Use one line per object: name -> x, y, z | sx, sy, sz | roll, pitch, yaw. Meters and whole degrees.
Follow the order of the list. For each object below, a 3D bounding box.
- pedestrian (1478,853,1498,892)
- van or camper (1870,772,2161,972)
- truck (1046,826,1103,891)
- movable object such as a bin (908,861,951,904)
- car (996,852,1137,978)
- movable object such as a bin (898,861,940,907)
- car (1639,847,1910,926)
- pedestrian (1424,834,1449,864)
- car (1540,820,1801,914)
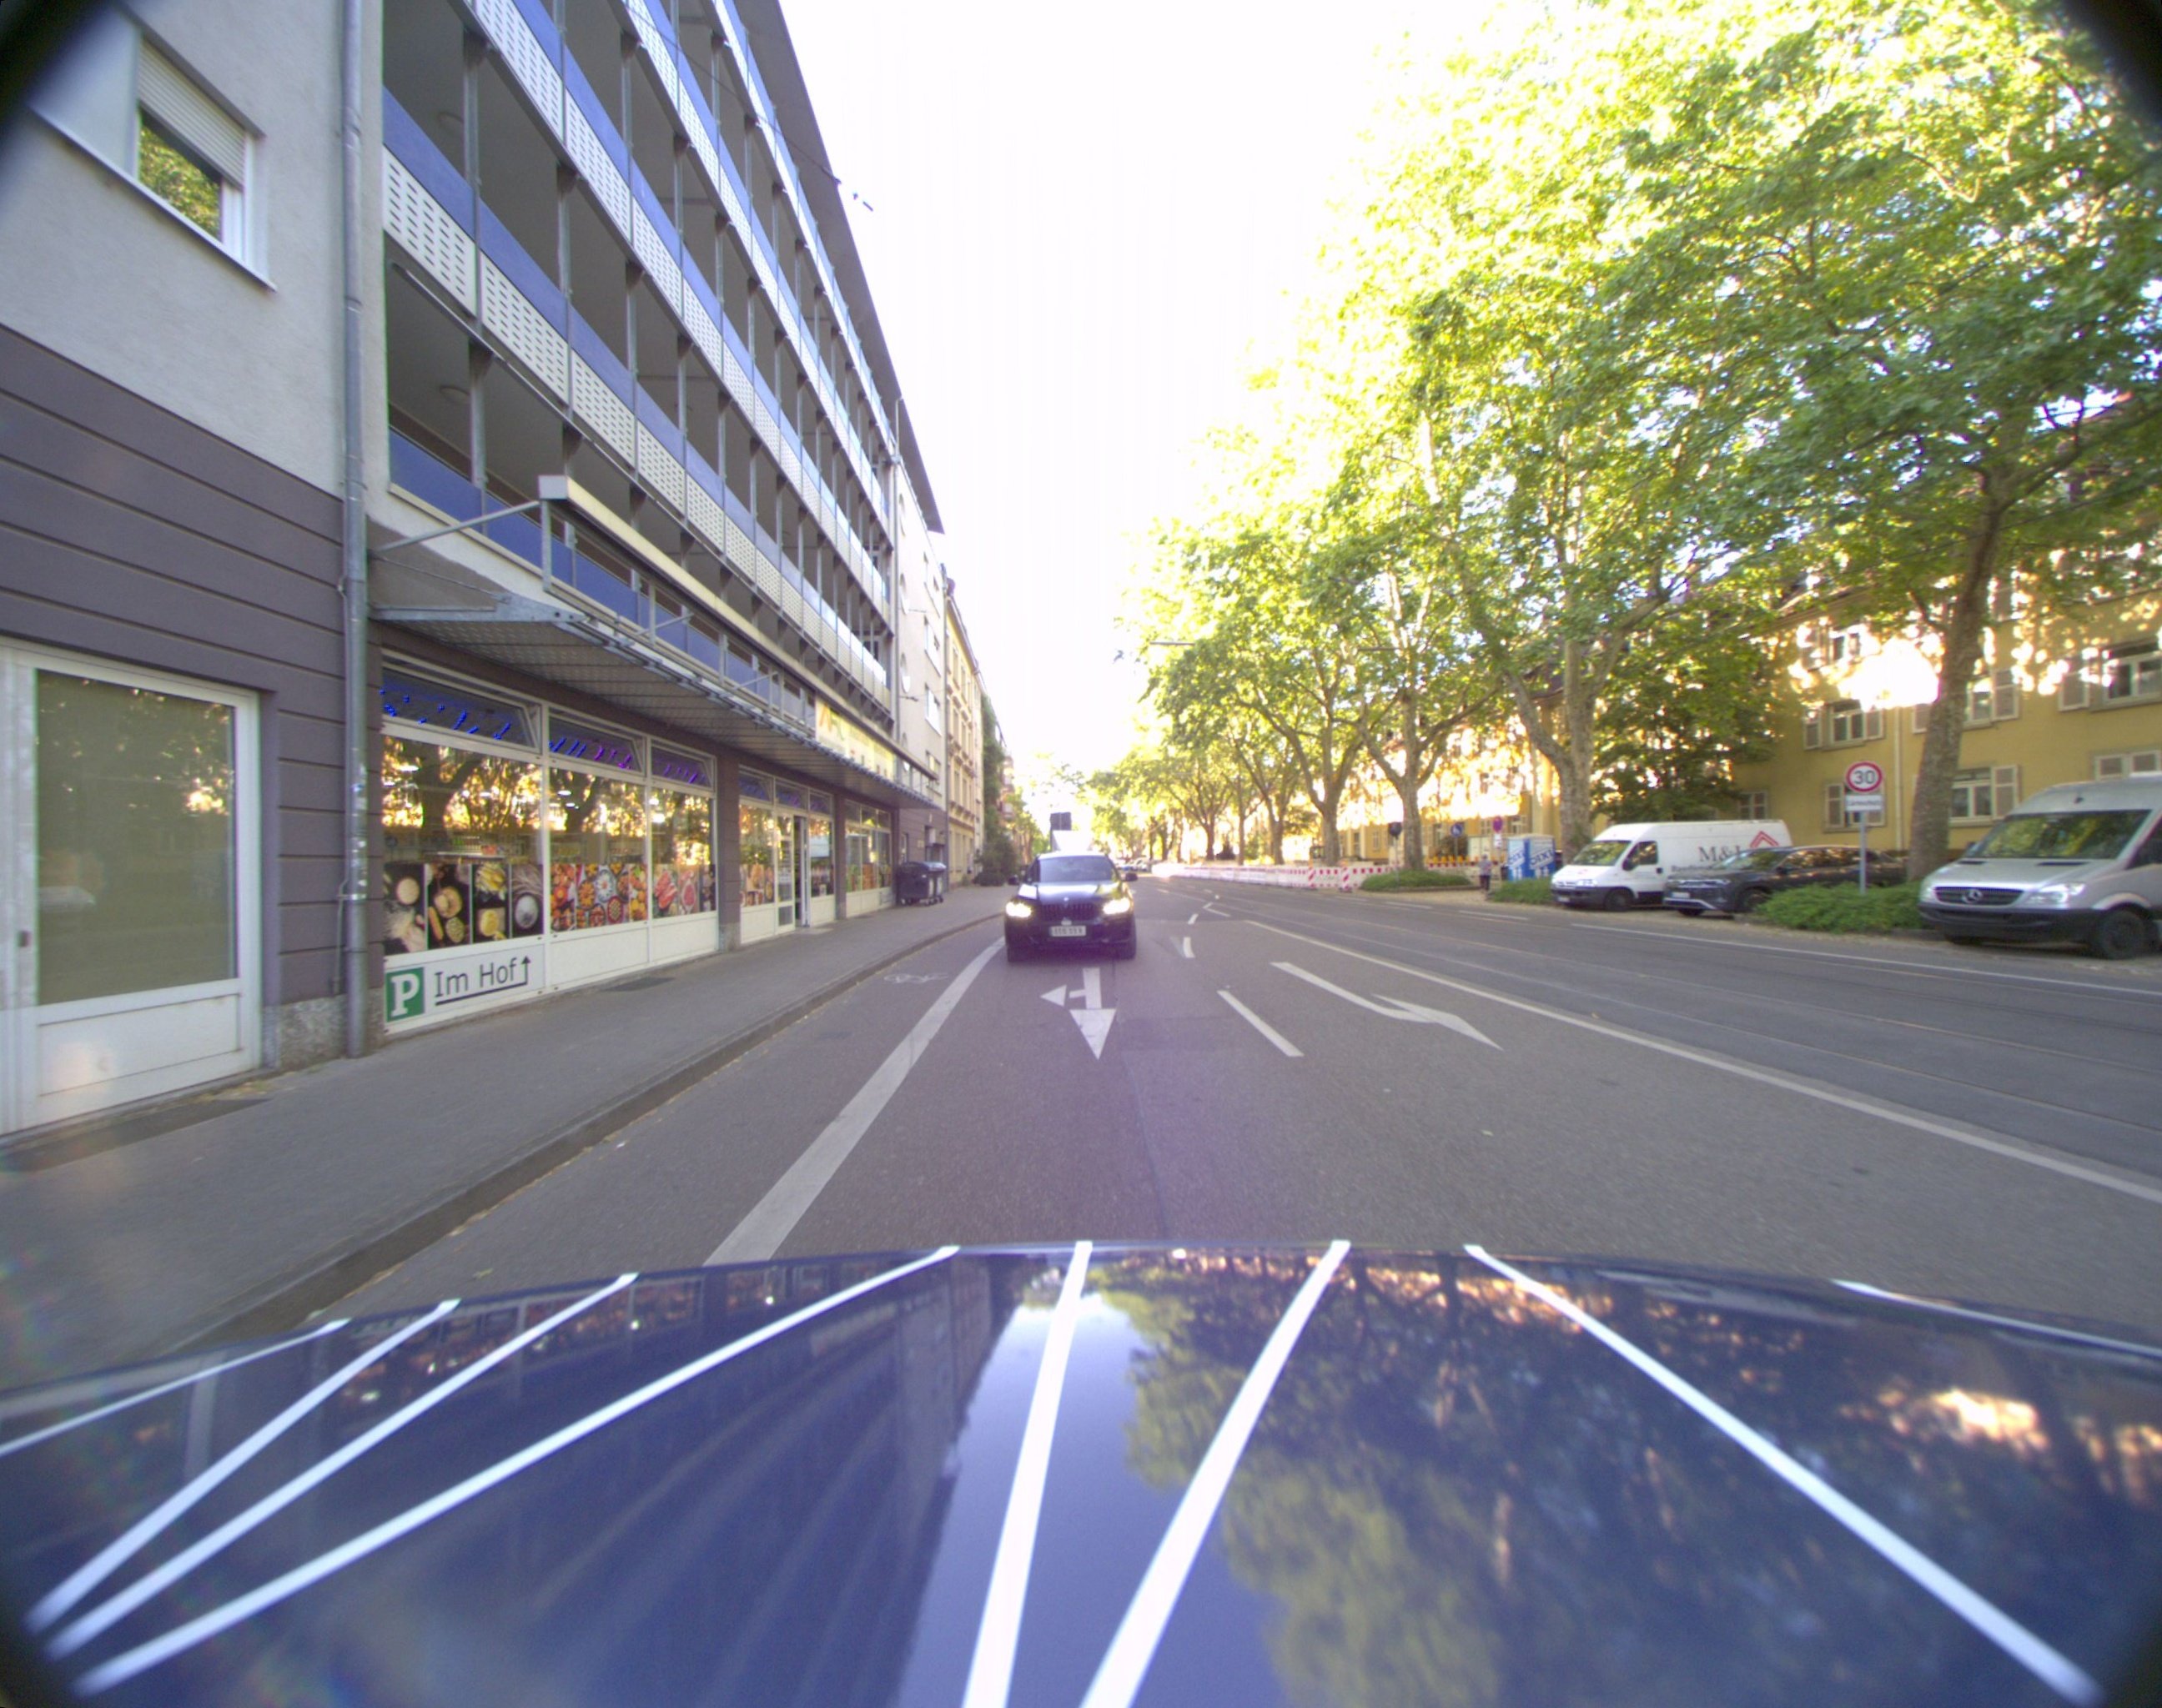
pedestrian -> 16.550, 0.744, 30.883 | 0.595, 1.563, 0.719 | -1, 0, 39
van or camper -> 16.100, 0.176, 11.475 | 6.127, 2.661, 2.229 | -2, 0, -2
truck -> -0.504, 0.248, 42.705 | 2.385, 3.165, 8.525 | 2, 0, -5
movable object such as a bin -> -5.255, 0.982, 26.414 | 1.122, 1.437, 1.306 | -1, 0, 4
car -> -0.174, 0.879, 13.038 | 1.943, 1.733, 4.475 | -2, 0, 1
movable object such as a bin -> -5.198, 0.947, 24.518 | 1.069, 1.438, 1.296 | -1, 0, -1
car -> 15.959, 0.711, 17.648 | 4.575, 1.621, 1.969 | -1, 0, -2
pedestrian -> 24.343, -0.320, 52.032 | 1.098, 2.002, 1.235 | -1, 0, -4
car -> 15.876, 0.332, 20.675 | 5.612, 2.361, 2.025 | -1, 0, -2
